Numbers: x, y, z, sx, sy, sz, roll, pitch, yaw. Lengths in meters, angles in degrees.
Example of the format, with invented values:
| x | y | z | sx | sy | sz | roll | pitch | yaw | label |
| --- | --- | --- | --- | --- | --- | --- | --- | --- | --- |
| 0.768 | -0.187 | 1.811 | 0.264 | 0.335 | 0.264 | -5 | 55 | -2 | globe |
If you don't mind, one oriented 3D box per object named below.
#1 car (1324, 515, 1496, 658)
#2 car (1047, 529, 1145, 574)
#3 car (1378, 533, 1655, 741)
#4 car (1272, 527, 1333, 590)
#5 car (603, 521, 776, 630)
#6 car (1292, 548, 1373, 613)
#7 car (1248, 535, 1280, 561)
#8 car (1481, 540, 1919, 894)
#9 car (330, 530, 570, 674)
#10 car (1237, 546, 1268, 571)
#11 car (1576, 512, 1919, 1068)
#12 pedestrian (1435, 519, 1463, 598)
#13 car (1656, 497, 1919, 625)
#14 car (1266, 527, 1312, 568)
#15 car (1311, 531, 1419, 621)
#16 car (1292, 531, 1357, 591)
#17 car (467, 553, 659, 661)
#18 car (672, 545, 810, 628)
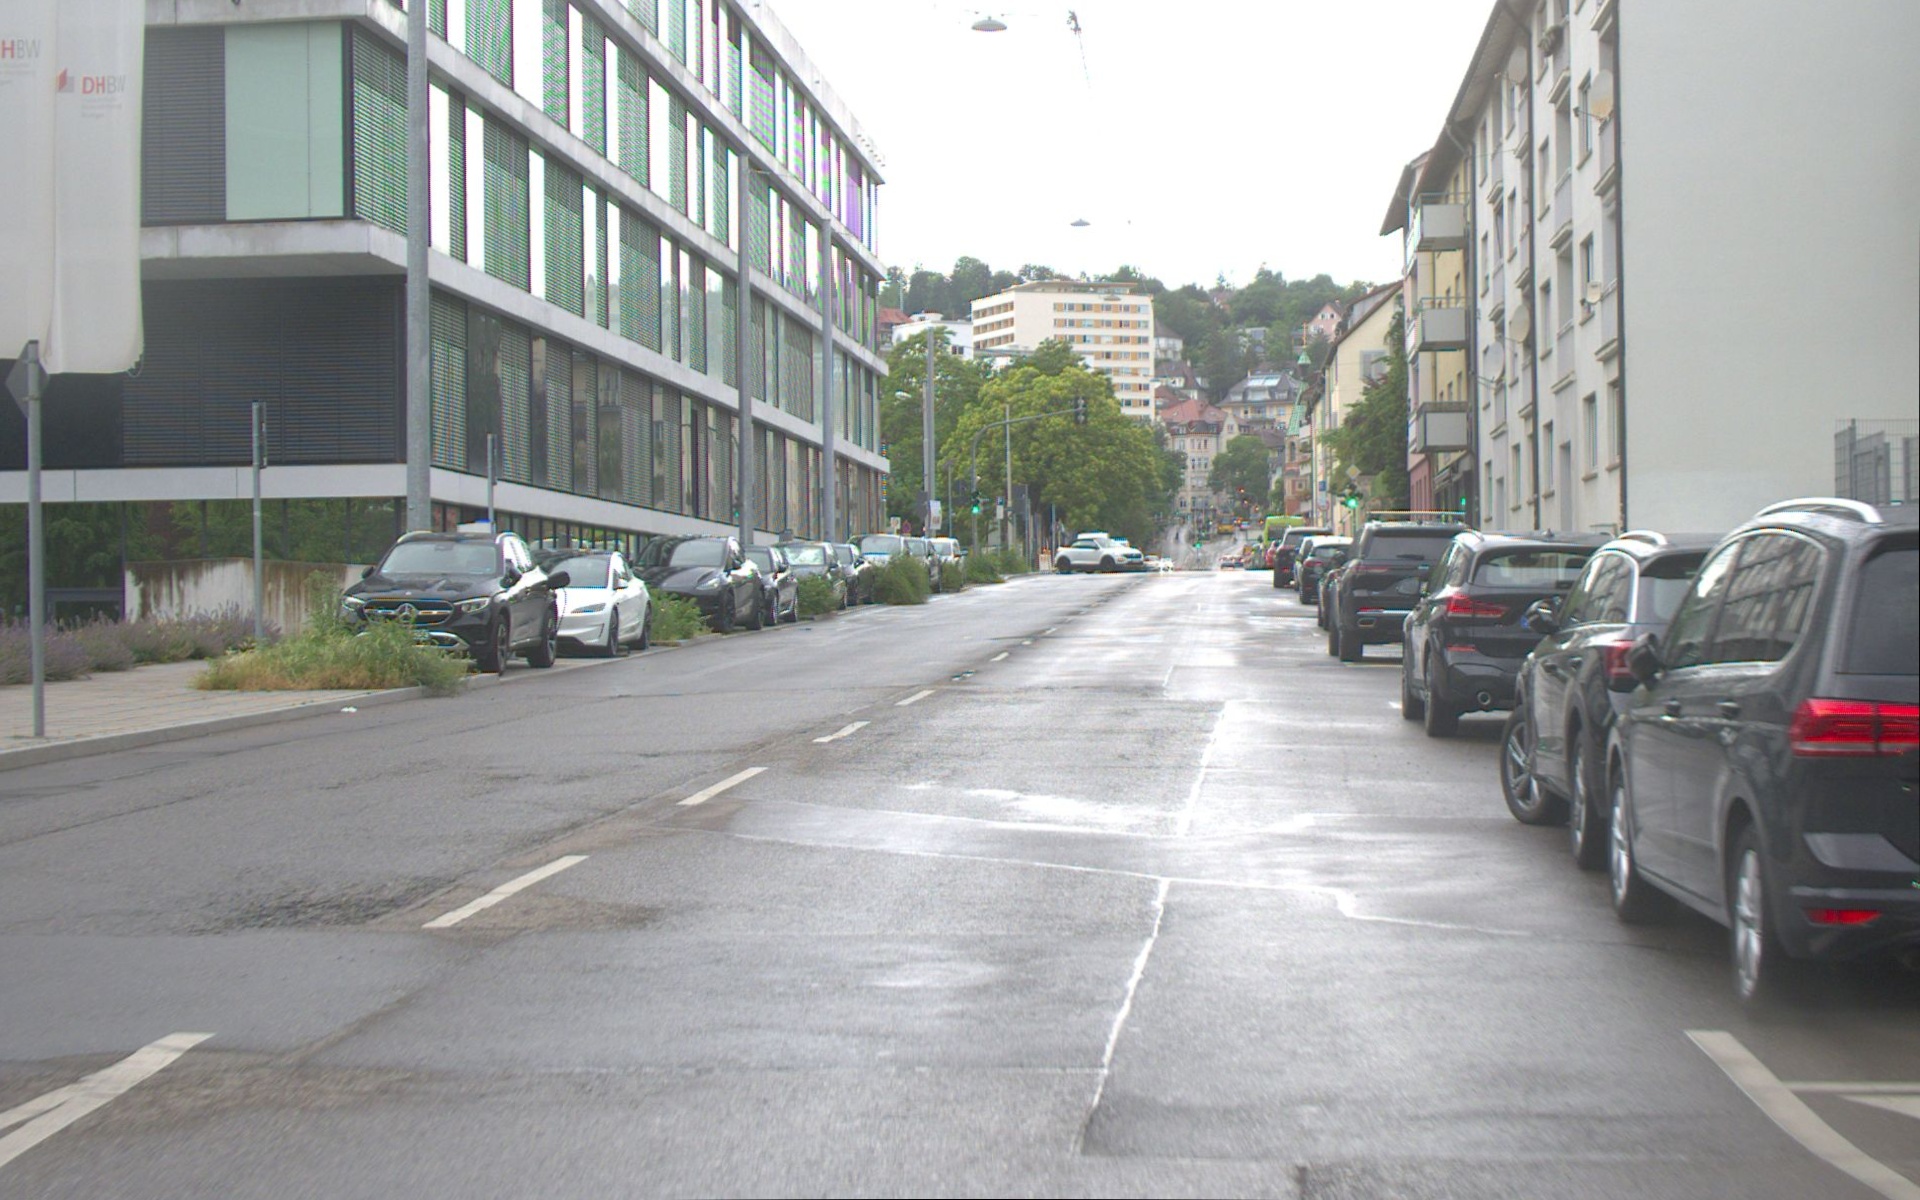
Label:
| x | y | z | sx | sy | sz | roll | pitch | yaw | label |
| --- | --- | --- | --- | --- | --- | --- | --- | --- | --- |
| 5.768 | -0.203 | 44.502 | 1.936 | 1.744 | 4.796 | 0 | 1 | 4 | car |
| 5.832 | -2.051 | 147.461 | 4.202 | 1.663 | 1.636 | -3 | -4 | 44 | car |
| 4.391 | 0.246 | 27.675 | 1.743 | 1.528 | 4.319 | 1 | 1 | 3 | car |
| 9.875 | -1.216 | 99.333 | 1.655 | 1.732 | 4.179 | 0 | 1 | 4 | car |
| -4.476 | -0.429 | 57.671 | 1.963 | 1.744 | 4.940 | 0 | 1 | 7 | car |
| 8.523 | -0.461 | 78.923 | 1.706 | 1.449 | 3.984 | 0 | 1 | 4 | car |
| 19.495 | -3.331 | 220.718 | 1.867 | 1.598 | 4.188 | 0 | 1 | 7 | car |
| 3.653 | 0.504 | 17.122 | 1.725 | 1.507 | 4.057 | 2 | 0 | 4 | car |
| -5.991 | -0.007 | 40.894 | 1.849 | 1.612 | 4.490 | 0 | 1 | 5 | car |
| 19.476 | -2.766 | 228.925 | 1.867 | 1.598 | 4.188 | 0 | 1 | 7 | car |
| 3.330 | 0.520 | 12.043 | 1.771 | 1.598 | 4.394 | 0 | 1 | 3 | car |
| 11.589 | -0.994 | 81.522 | 0.639 | 1.864 | 0.538 | 0 | 0 | 7 | pedestrian |
| 13.074 | -0.617 | 52.664 | 4.438 | 1.707 | 1.905 | -3 | 0 | 4 | car |
| 14.436 | -2.302 | 150.849 | 1.867 | 1.764 | 4.188 | 0 | 1 | 7 | car |
| 6.938 | -0.432 | 59.174 | 1.673 | 1.454 | 3.764 | 0 | 2 | 4 | car |
| 9.837 | -1.061 | 92.961 | 1.635 | 1.566 | 3.710 | 0 | 1 | 4 | car |
| -5.435 | 0.063 | 47.574 | 1.821 | 1.414 | 4.401 | 0 | 1 | 5 | car |
| -4.007 | -0.279 | 63.602 | 1.871 | 1.467 | 4.740 | 0 | 1 | 5 | car |
